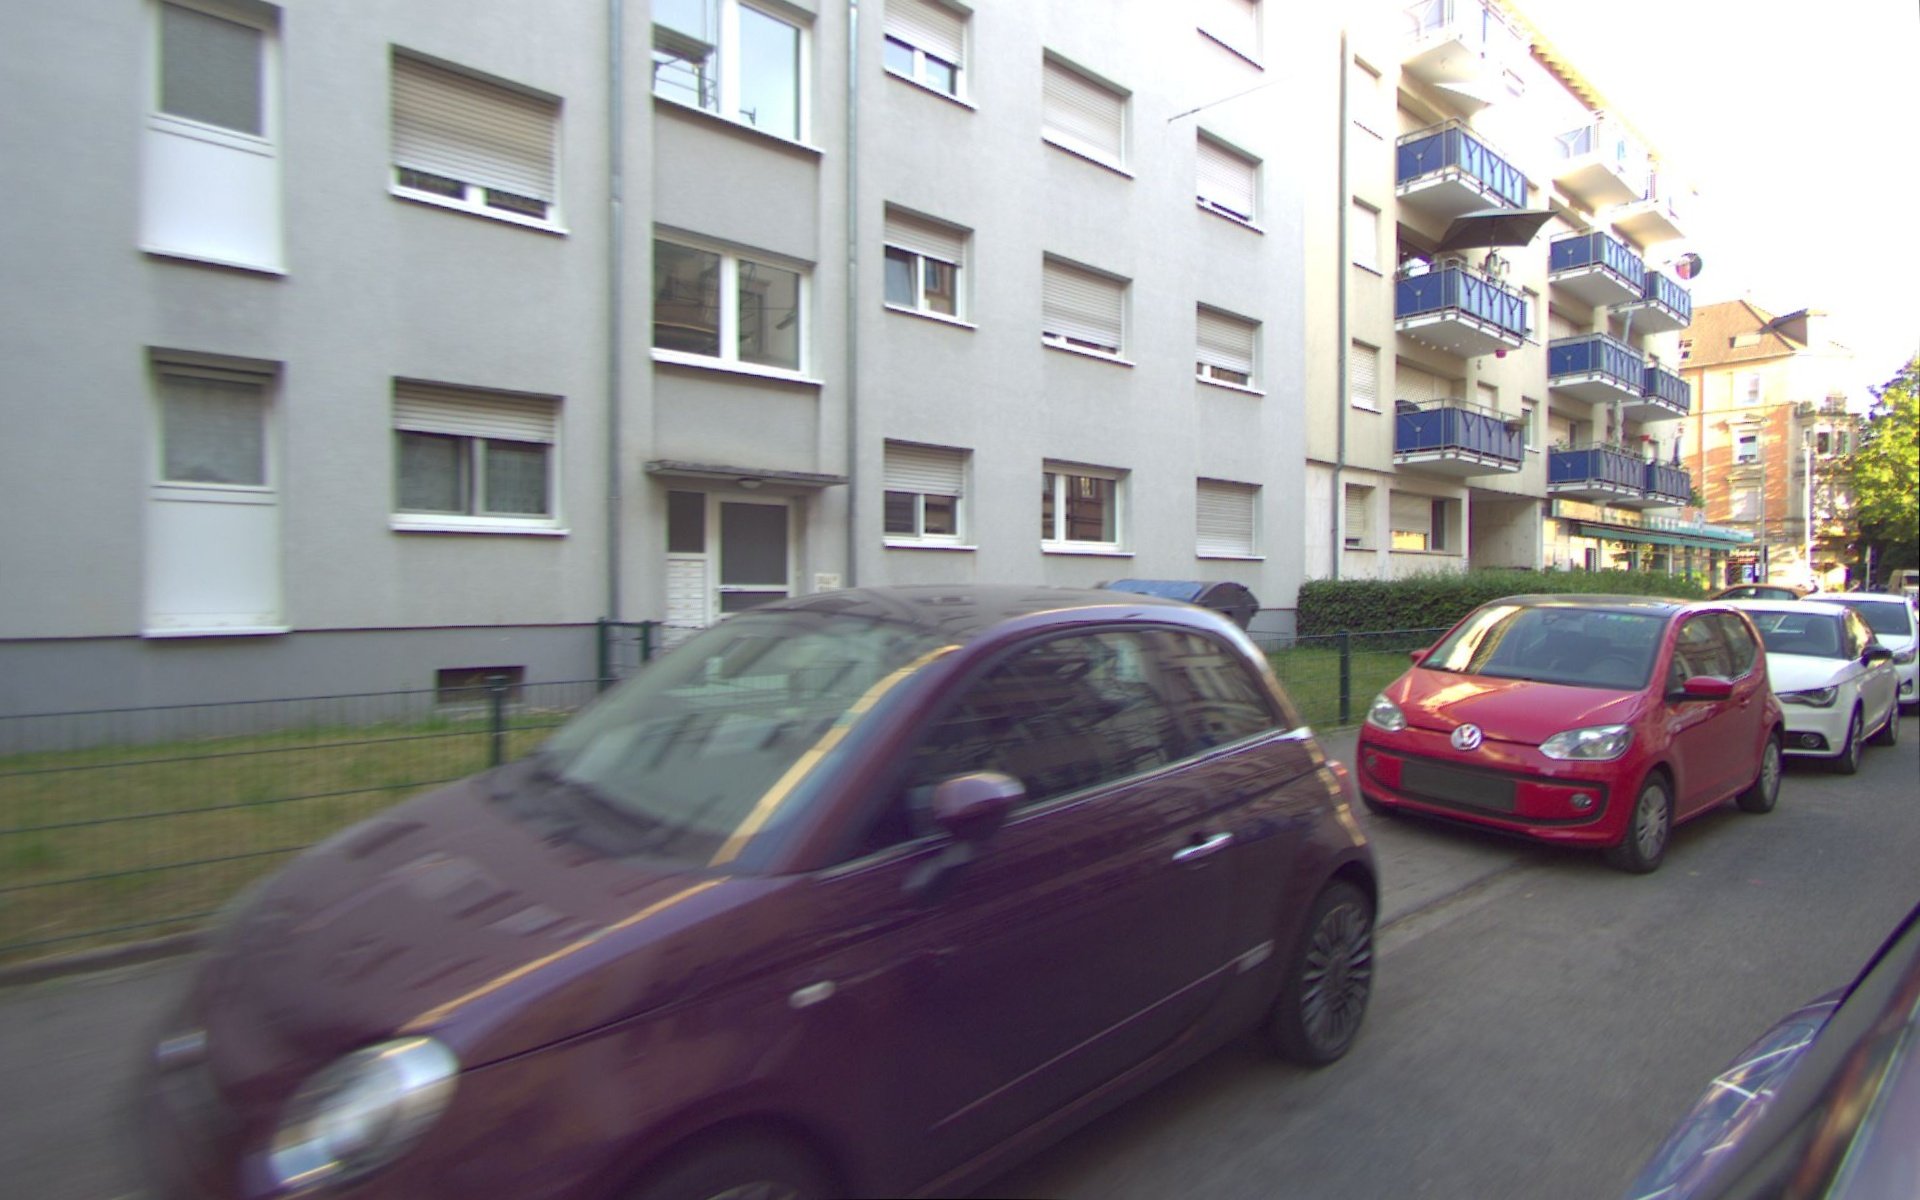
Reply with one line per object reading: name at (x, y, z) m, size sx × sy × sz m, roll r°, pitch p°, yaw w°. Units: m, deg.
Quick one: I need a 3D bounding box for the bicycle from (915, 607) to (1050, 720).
bicycle at (0.280, 0.662, 11.308) m, size 0.599 × 1.104 × 1.716 m, roll 1°, pitch 2°, yaw 38°

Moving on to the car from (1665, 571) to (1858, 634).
car at (22.459, 0.007, 28.455) m, size 1.966 × 1.584 × 3.992 m, roll -1°, pitch 3°, yaw -42°

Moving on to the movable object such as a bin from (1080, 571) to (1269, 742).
movable object such as a bin at (2.003, 0.458, 9.503) m, size 1.202 × 1.454 × 1.286 m, roll -1°, pitch 2°, yaw -41°

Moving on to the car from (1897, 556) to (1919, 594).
car at (60.554, -1.574, 63.217) m, size 2.149 × 2.311 × 6.131 m, roll 1°, pitch 2°, yaw 35°

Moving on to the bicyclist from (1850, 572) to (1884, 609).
bicyclist at (42.748, -0.467, 47.728) m, size 0.963 × 1.693 × 0.794 m, roll 1°, pitch 2°, yaw 25°

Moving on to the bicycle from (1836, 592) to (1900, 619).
bicycle at (42.782, 0.241, 47.707) m, size 2.086 × 1.183 × 0.720 m, roll 1°, pitch 2°, yaw 26°

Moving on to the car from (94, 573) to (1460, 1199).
car at (-0.165, 0.684, 2.971) m, size 3.589 × 1.501 × 1.679 m, roll -1°, pitch 2°, yaw -41°

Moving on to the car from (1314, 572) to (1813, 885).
car at (4.098, 0.573, 6.686) m, size 3.586 × 1.501 × 1.681 m, roll -1°, pitch 2°, yaw -39°

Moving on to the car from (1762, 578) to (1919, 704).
car at (12.426, 0.451, 13.772) m, size 4.065 × 1.437 × 1.679 m, roll -2°, pitch 2°, yaw -42°

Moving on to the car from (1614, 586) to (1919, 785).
car at (7.905, 0.627, 9.702) m, size 4.064 × 1.437 × 1.679 m, roll -2°, pitch 2°, yaw -41°
